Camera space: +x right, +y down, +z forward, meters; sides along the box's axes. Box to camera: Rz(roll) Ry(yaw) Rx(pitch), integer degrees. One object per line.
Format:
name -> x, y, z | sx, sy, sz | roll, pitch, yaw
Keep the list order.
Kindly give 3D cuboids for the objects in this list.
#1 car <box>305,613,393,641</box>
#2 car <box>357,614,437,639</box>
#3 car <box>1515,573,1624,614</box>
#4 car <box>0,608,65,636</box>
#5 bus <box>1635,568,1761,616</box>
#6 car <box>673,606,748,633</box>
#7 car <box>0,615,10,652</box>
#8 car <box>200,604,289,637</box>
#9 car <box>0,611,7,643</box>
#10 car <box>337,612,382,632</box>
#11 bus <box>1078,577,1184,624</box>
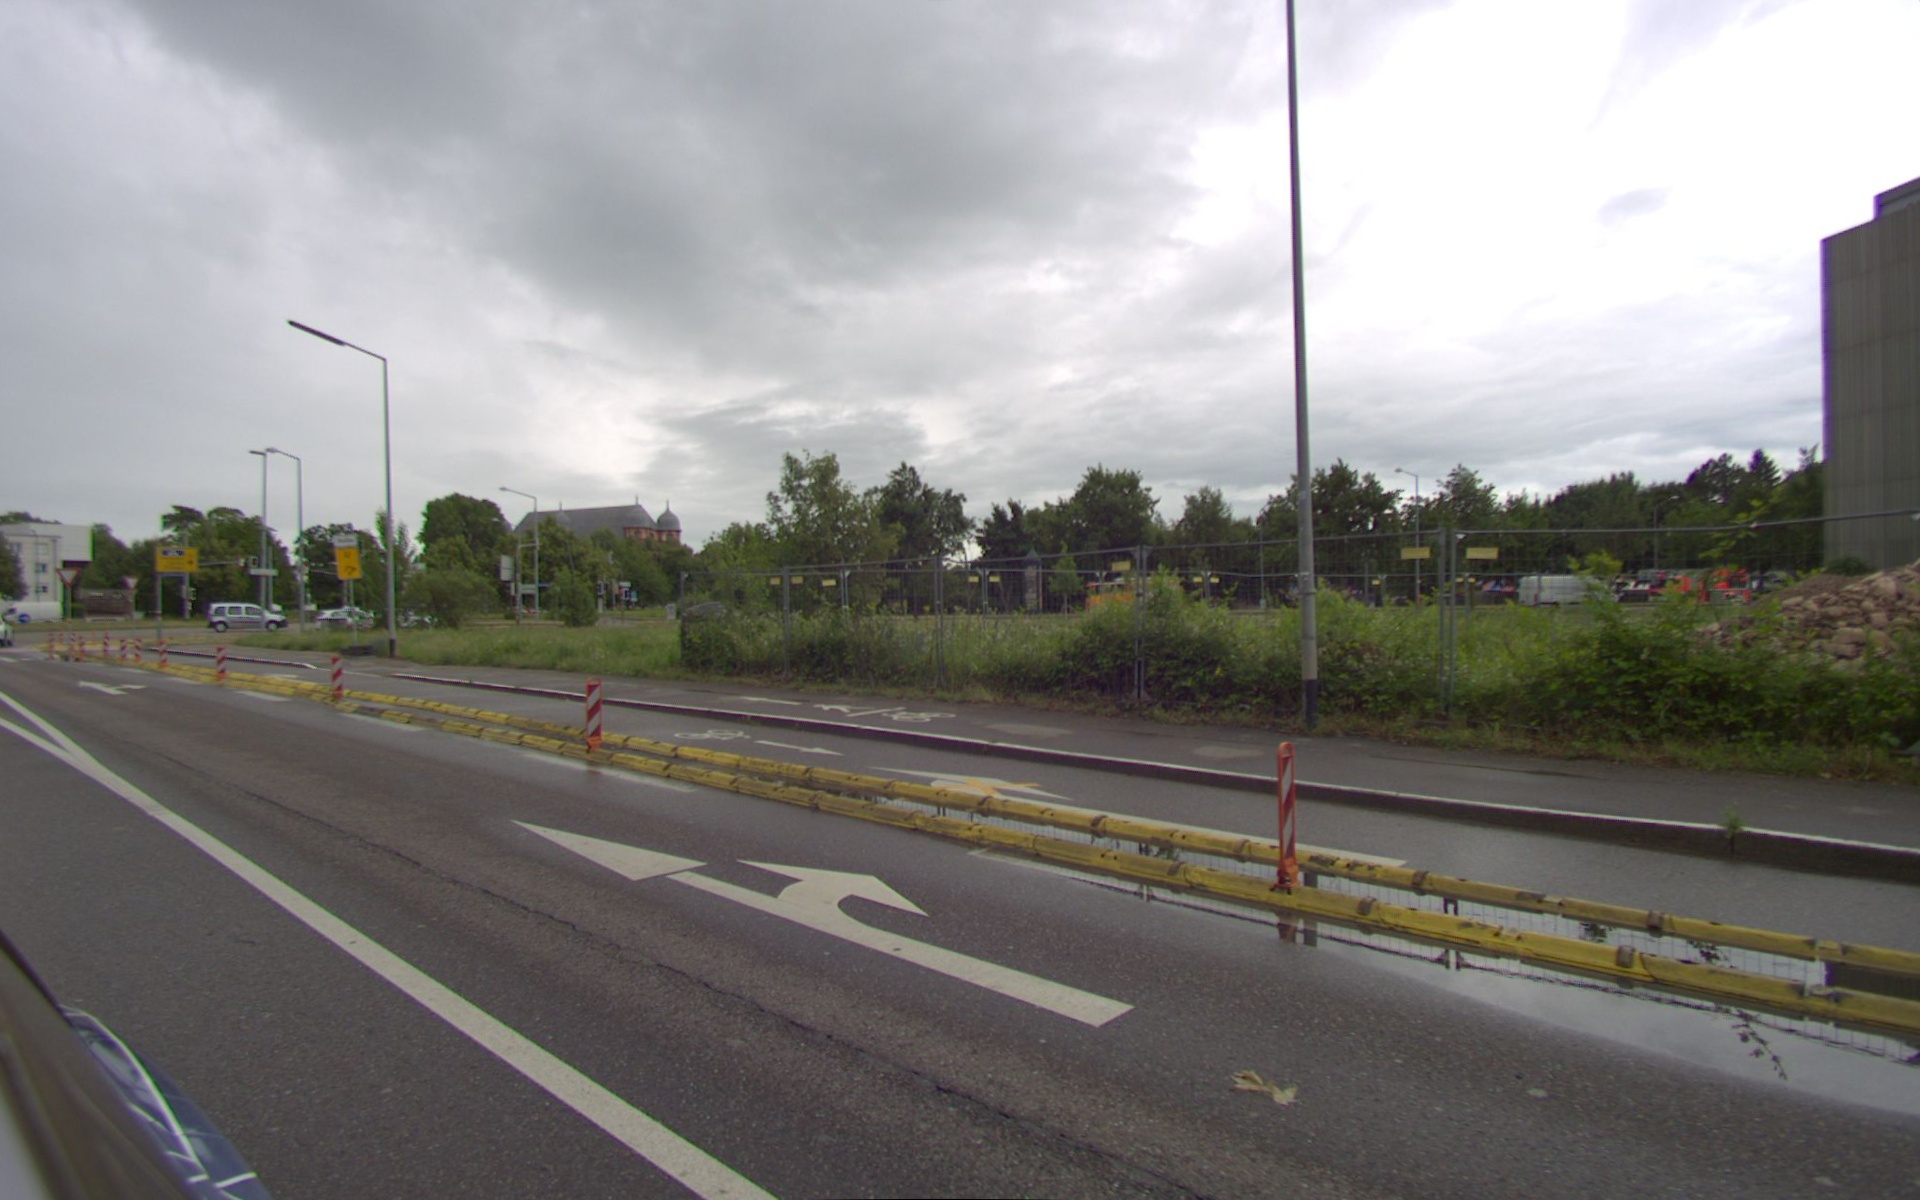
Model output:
car -> -36.231, 1.590, 60.056 | 4.358, 1.468, 1.837 | -1, 0, -34
car -> -36.324, 1.664, 65.308 | 4.400, 1.468, 1.927 | -1, 0, -32
car -> 44.217, -0.441, 73.477 | 6.475, 2.725, 2.400 | -1, -1, -4
car -> -92.253, 2.165, 99.935 | 5.516, 2.561, 2.246 | -1, 0, -35
bus -> 66.140, -0.706, 90.789 | 9.735, 4.012, 2.739 | -1, -1, -7
car -> -17.000, 1.289, 68.905 | 4.669, 1.680, 1.928 | -1, 0, -22
car -> -43.364, 1.456, 44.683 | 3.900, 1.599, 1.732 | -1, -3, 42
car -> -45.299, 1.288, 64.112 | 4.415, 1.918, 1.925 | -1, 0, -40
car -> -54.725, 1.517, 55.036 | 3.946, 1.728, 1.935 | -1, 0, -34
car -> -48.536, 1.751, 81.909 | 1.889, 1.466, 4.488 | -1, 0, -14
bus -> 14.300, 0.075, 84.984 | 8.266, 3.676, 2.739 | -1, -1, -7
